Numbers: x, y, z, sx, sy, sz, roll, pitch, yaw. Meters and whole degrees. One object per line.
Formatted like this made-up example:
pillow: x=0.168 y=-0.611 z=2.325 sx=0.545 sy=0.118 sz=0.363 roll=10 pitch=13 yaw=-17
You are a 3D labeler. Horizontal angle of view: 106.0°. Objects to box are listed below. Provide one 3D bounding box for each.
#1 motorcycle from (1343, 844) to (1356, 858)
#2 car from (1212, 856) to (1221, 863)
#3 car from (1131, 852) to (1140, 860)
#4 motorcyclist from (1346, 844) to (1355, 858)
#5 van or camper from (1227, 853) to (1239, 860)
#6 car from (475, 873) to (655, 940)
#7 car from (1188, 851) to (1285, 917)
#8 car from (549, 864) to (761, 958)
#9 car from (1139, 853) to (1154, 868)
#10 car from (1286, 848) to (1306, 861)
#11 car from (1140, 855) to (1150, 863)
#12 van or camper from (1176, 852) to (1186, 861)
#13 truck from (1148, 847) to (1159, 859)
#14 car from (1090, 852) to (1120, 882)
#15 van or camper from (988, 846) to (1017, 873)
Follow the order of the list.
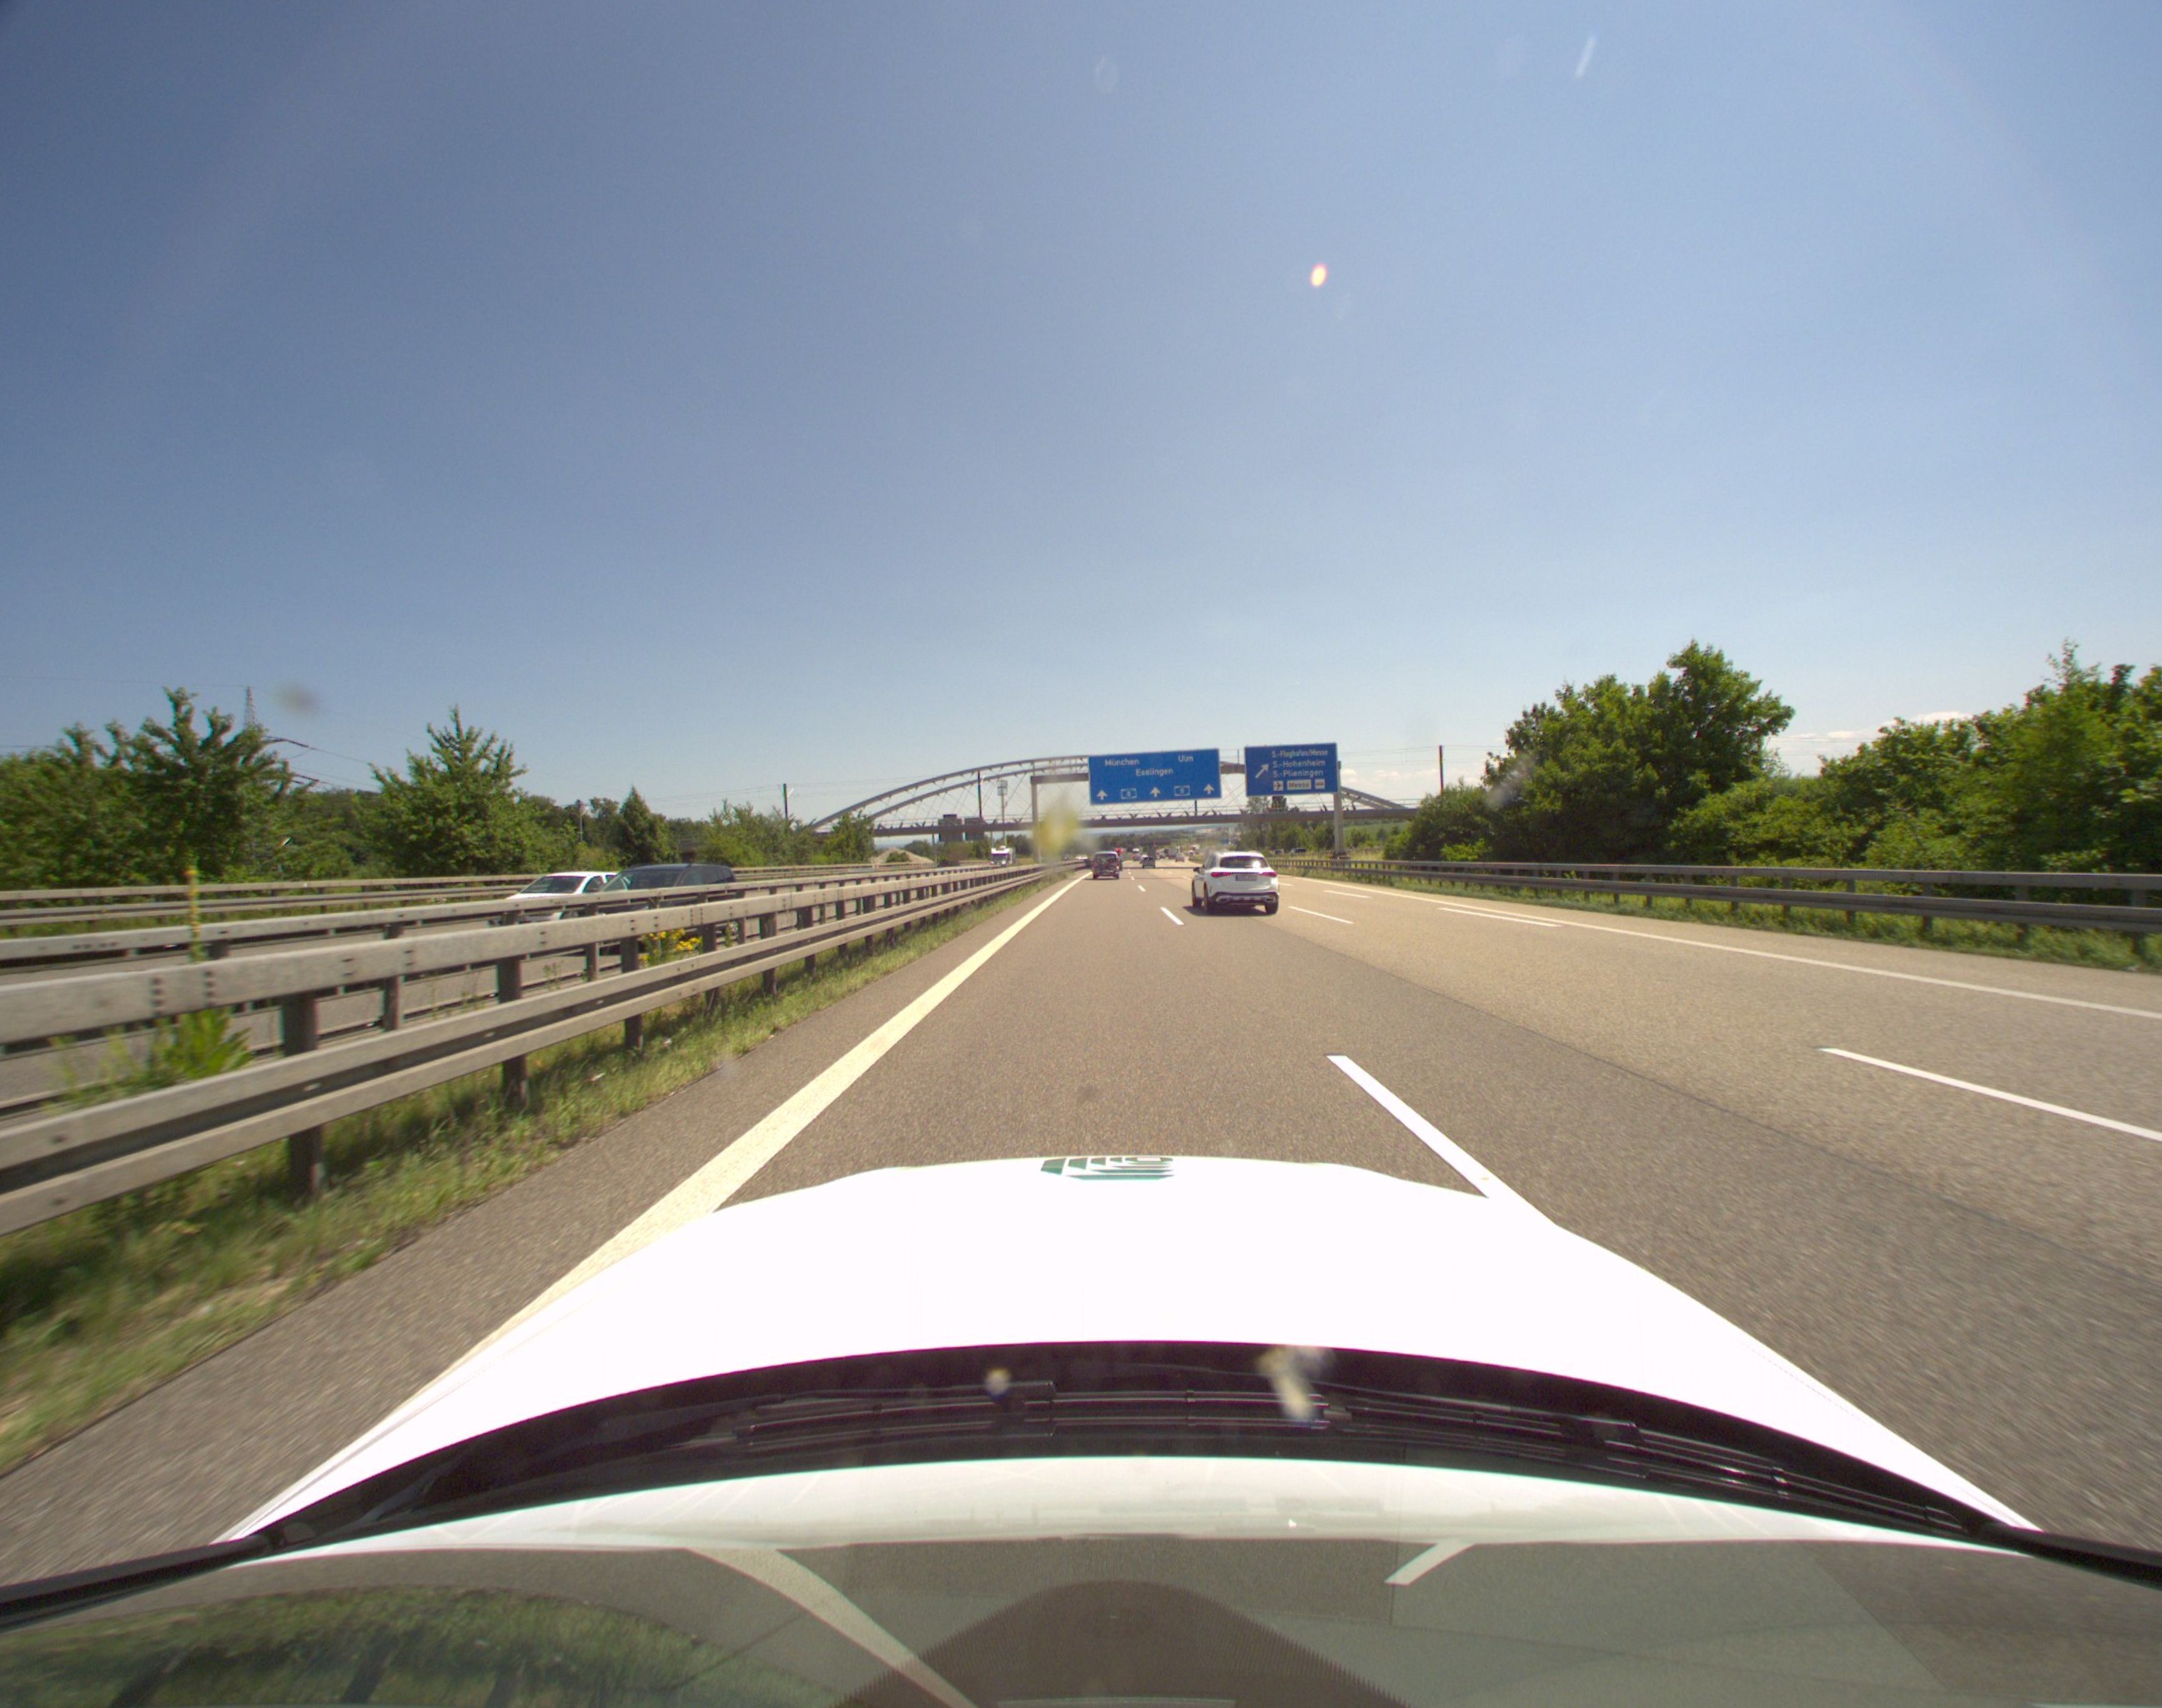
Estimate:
motorcycle: x=27.260 y=-0.271 z=82.664 sx=0.757 sy=1.366 sz=1.870 roll=0 pitch=-1 yaw=2
car: x=35.955 y=1.489 z=216.277 sx=1.986 sy=2.014 sz=4.002 roll=0 pitch=-1 yaw=2
car: x=14.236 y=0.633 z=211.891 sx=2.174 sy=2.003 sz=4.008 roll=0 pitch=-1 yaw=7
motorcyclist: x=27.276 y=-0.309 z=82.531 sx=0.666 sy=1.366 sz=0.879 roll=0 pitch=-1 yaw=2
van or camper: x=41.679 y=0.718 z=223.244 sx=2.522 sy=2.014 sz=4.458 roll=0 pitch=-1 yaw=-2
car: x=-12.577 y=1.213 z=20.214 sx=1.742 sy=1.385 sz=4.099 roll=-1 pitch=0 yaw=2
car: x=4.222 y=0.773 z=22.883 sx=1.891 sy=1.647 sz=5.000 roll=0 pitch=0 yaw=2
car: x=-8.457 y=1.044 z=16.751 sx=1.742 sy=1.586 sz=4.692 roll=-1 pitch=0 yaw=2
car: x=8.565 y=0.875 z=107.056 sx=1.918 sy=1.919 sz=4.522 roll=0 pitch=-1 yaw=4
car: x=27.038 y=0.107 z=102.450 sx=1.692 sy=1.575 sz=4.131 roll=0 pitch=-1 yaw=3
car: x=12.181 y=0.870 z=154.797 sx=1.972 sy=1.473 sz=4.006 roll=-1 pitch=0 yaw=5
van or camper: x=22.446 y=0.559 z=182.606 sx=2.145 sy=2.014 sz=4.312 roll=0 pitch=-1 yaw=7
truck: x=19.398 y=-0.186 z=219.200 sx=2.690 sy=3.109 sz=10.671 roll=0 pitch=0 yaw=4
car: x=1.645 y=0.826 z=54.771 sx=1.919 sy=1.919 sz=4.950 roll=0 pitch=-1 yaw=2
van or camper: x=-9.646 y=0.653 z=100.687 sx=2.435 sy=3.087 sz=8.125 roll=-1 pitch=0 yaw=2
